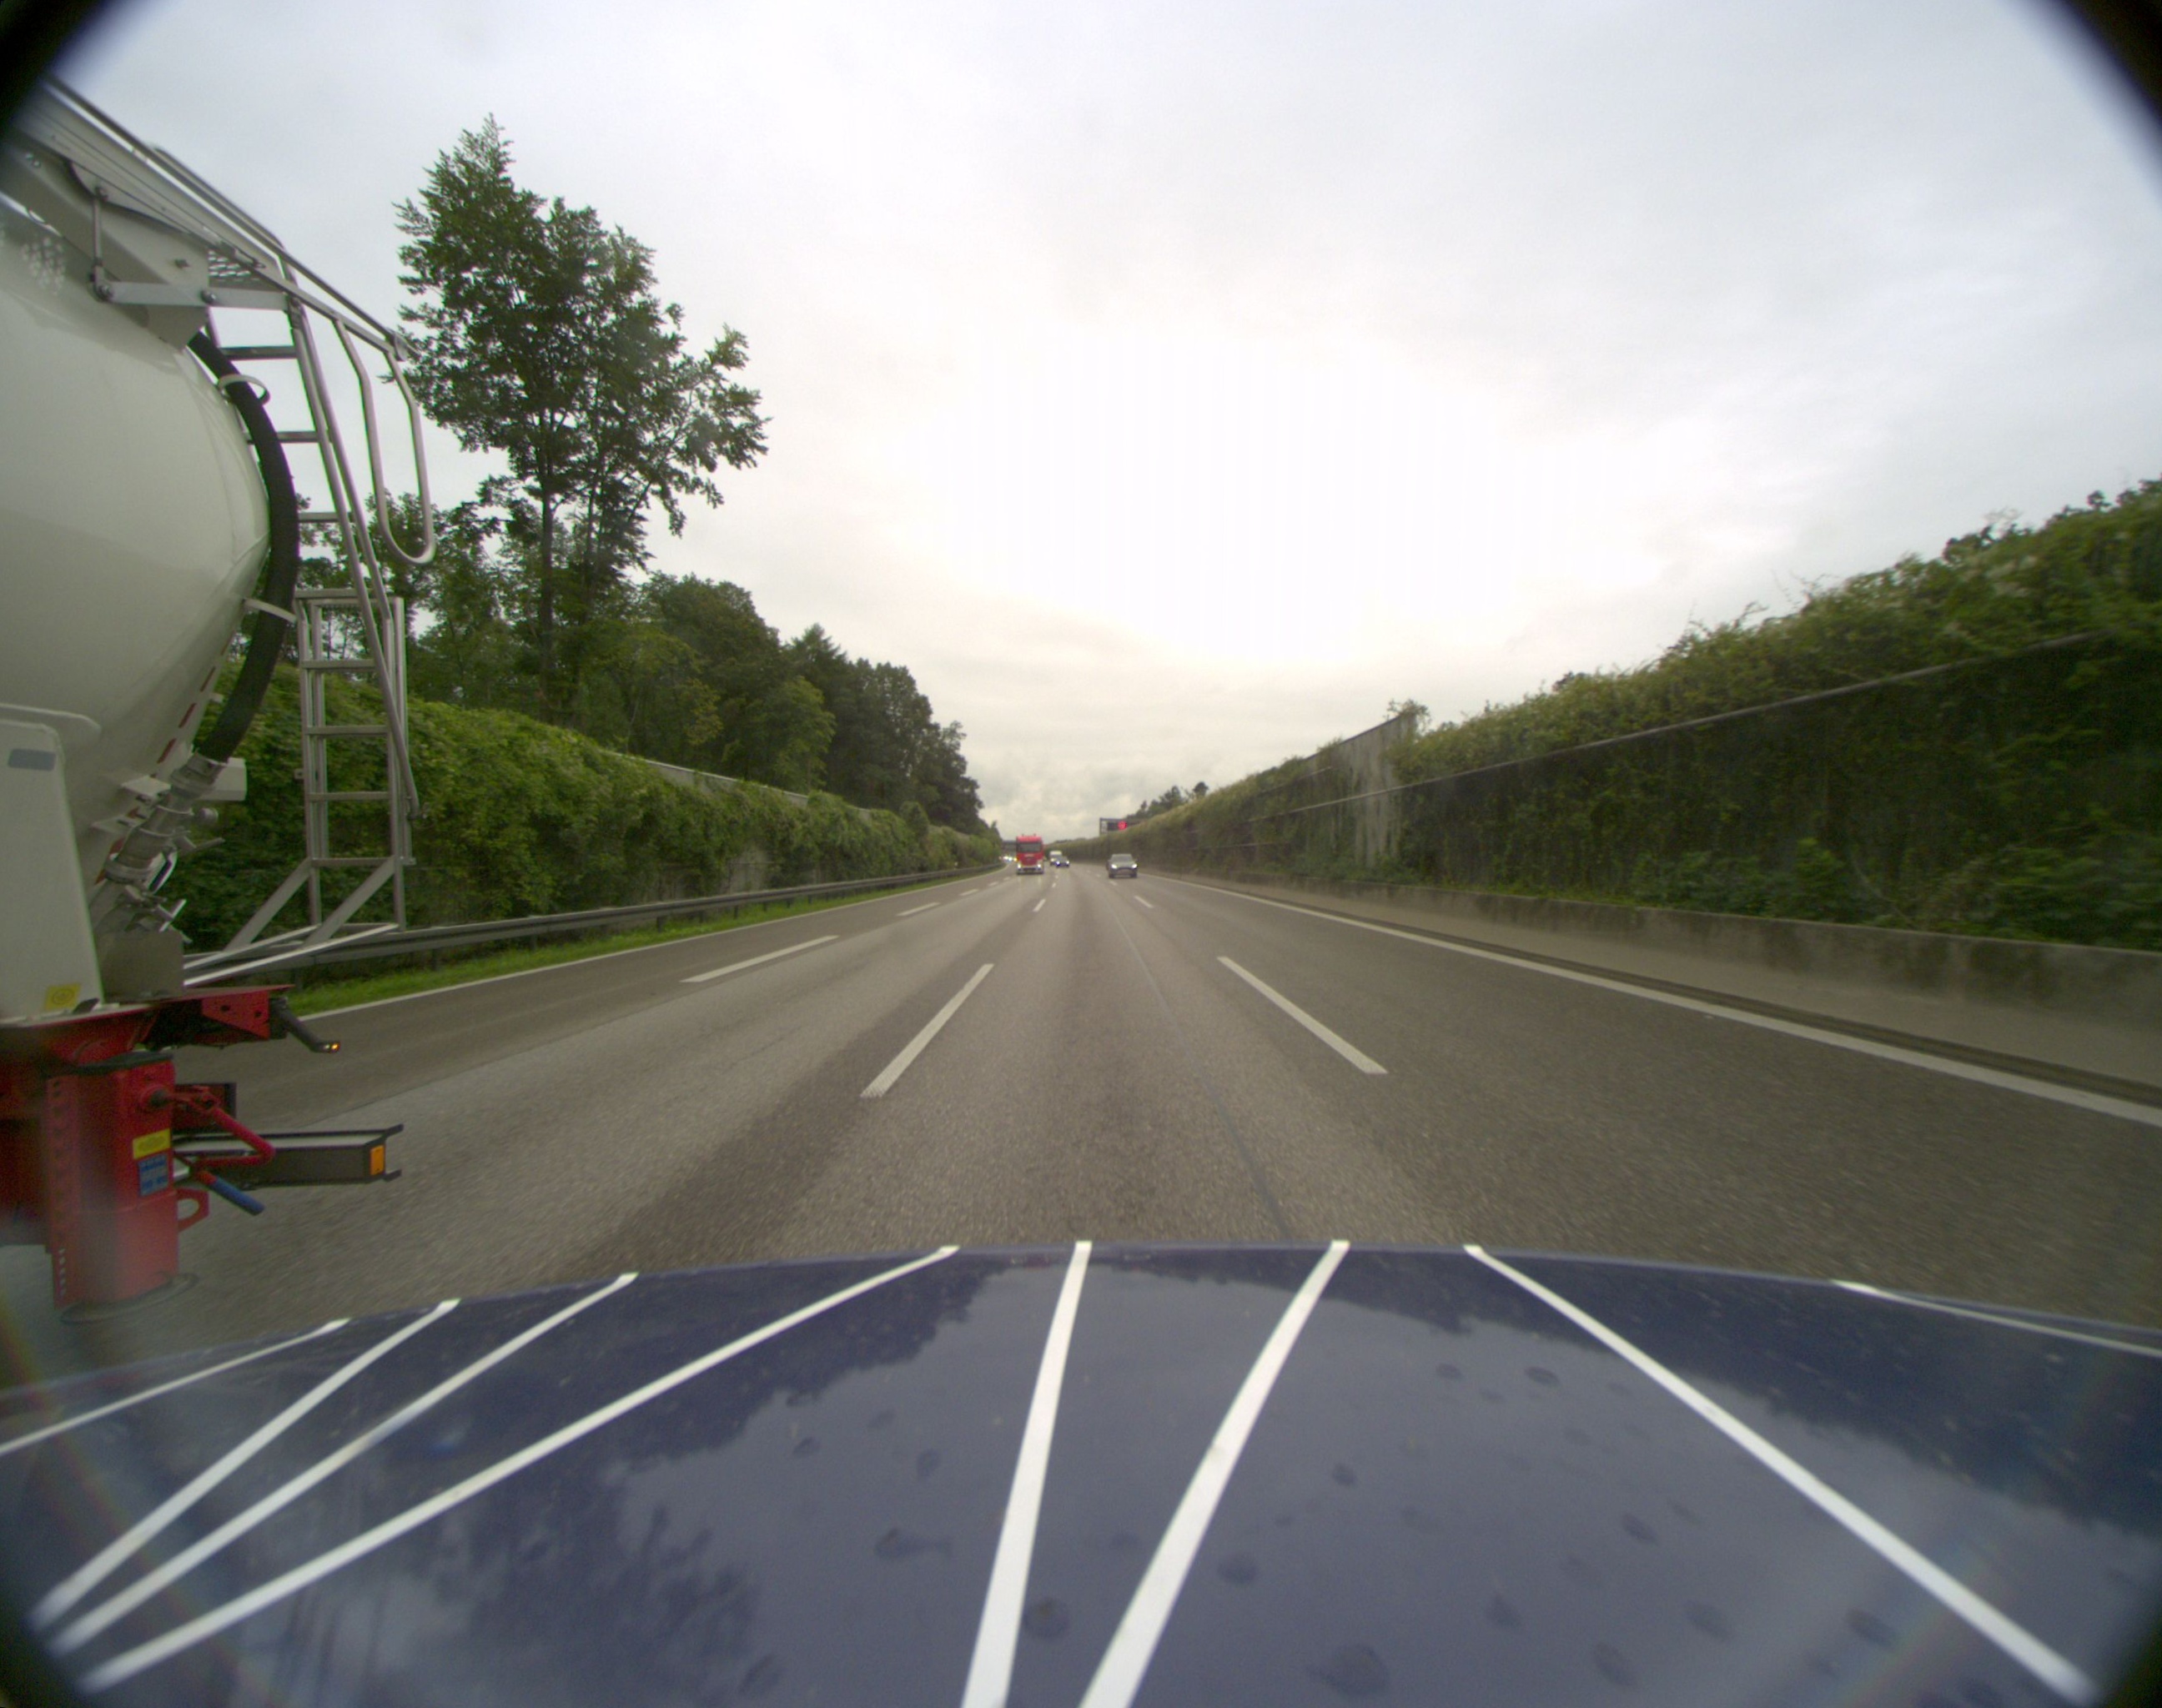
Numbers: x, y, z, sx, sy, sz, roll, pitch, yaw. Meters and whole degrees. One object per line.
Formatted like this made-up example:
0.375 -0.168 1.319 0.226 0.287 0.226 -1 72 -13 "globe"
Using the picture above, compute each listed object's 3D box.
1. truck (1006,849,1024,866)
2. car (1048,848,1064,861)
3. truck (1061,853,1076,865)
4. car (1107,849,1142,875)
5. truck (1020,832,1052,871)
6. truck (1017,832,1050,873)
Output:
-15.019 0.837 173.128 2.712 3.690 8.230 -1 1 -14 "truck"
-4.379 0.016 133.572 2.769 2.227 6.544 -1 1 -2 "car"
-1.819 0.646 109.508 1.826 1.535 3.997 -2 2 -4 "truck"
3.012 0.519 53.954 2.023 1.595 5.437 -3 1 -1 "car"
-4.526 -0.352 77.962 2.709 3.691 9.838 -1 2 0 "truck"
-4.554 -0.195 73.112 2.708 3.809 4.198 -1 2 2 "truck"
